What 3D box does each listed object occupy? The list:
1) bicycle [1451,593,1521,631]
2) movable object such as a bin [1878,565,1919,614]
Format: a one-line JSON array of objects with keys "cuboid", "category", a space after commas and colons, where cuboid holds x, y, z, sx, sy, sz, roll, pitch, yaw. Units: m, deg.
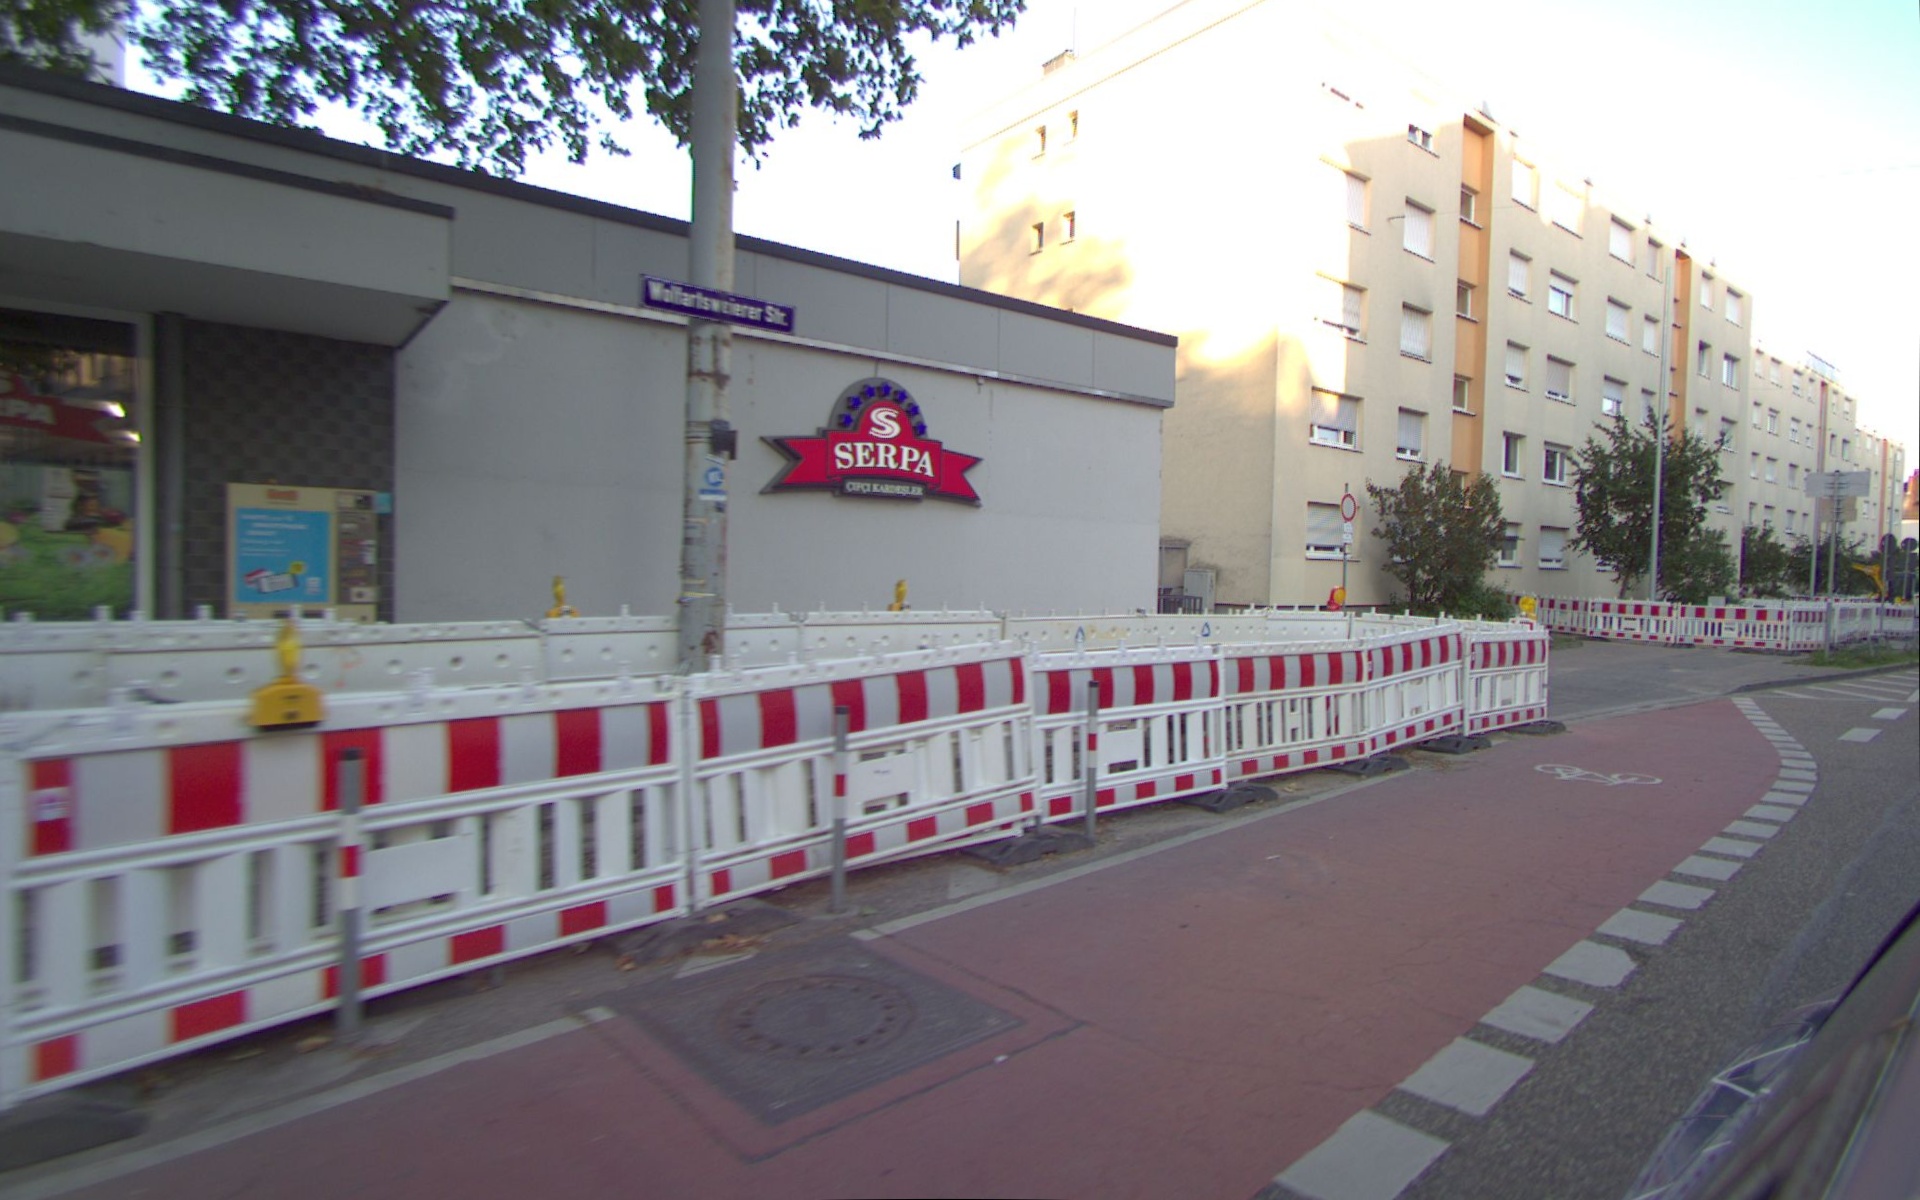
[{"cuboid": [14.009, 0.329, 26.931, 1.776, 0.980, 0.547, 1, 1, -18], "category": "bicycle"}, {"cuboid": [54.422, -0.589, 58.129, 2.838, 2.726, 1.939, 0, 2, -37], "category": "movable object such as a bin"}]
